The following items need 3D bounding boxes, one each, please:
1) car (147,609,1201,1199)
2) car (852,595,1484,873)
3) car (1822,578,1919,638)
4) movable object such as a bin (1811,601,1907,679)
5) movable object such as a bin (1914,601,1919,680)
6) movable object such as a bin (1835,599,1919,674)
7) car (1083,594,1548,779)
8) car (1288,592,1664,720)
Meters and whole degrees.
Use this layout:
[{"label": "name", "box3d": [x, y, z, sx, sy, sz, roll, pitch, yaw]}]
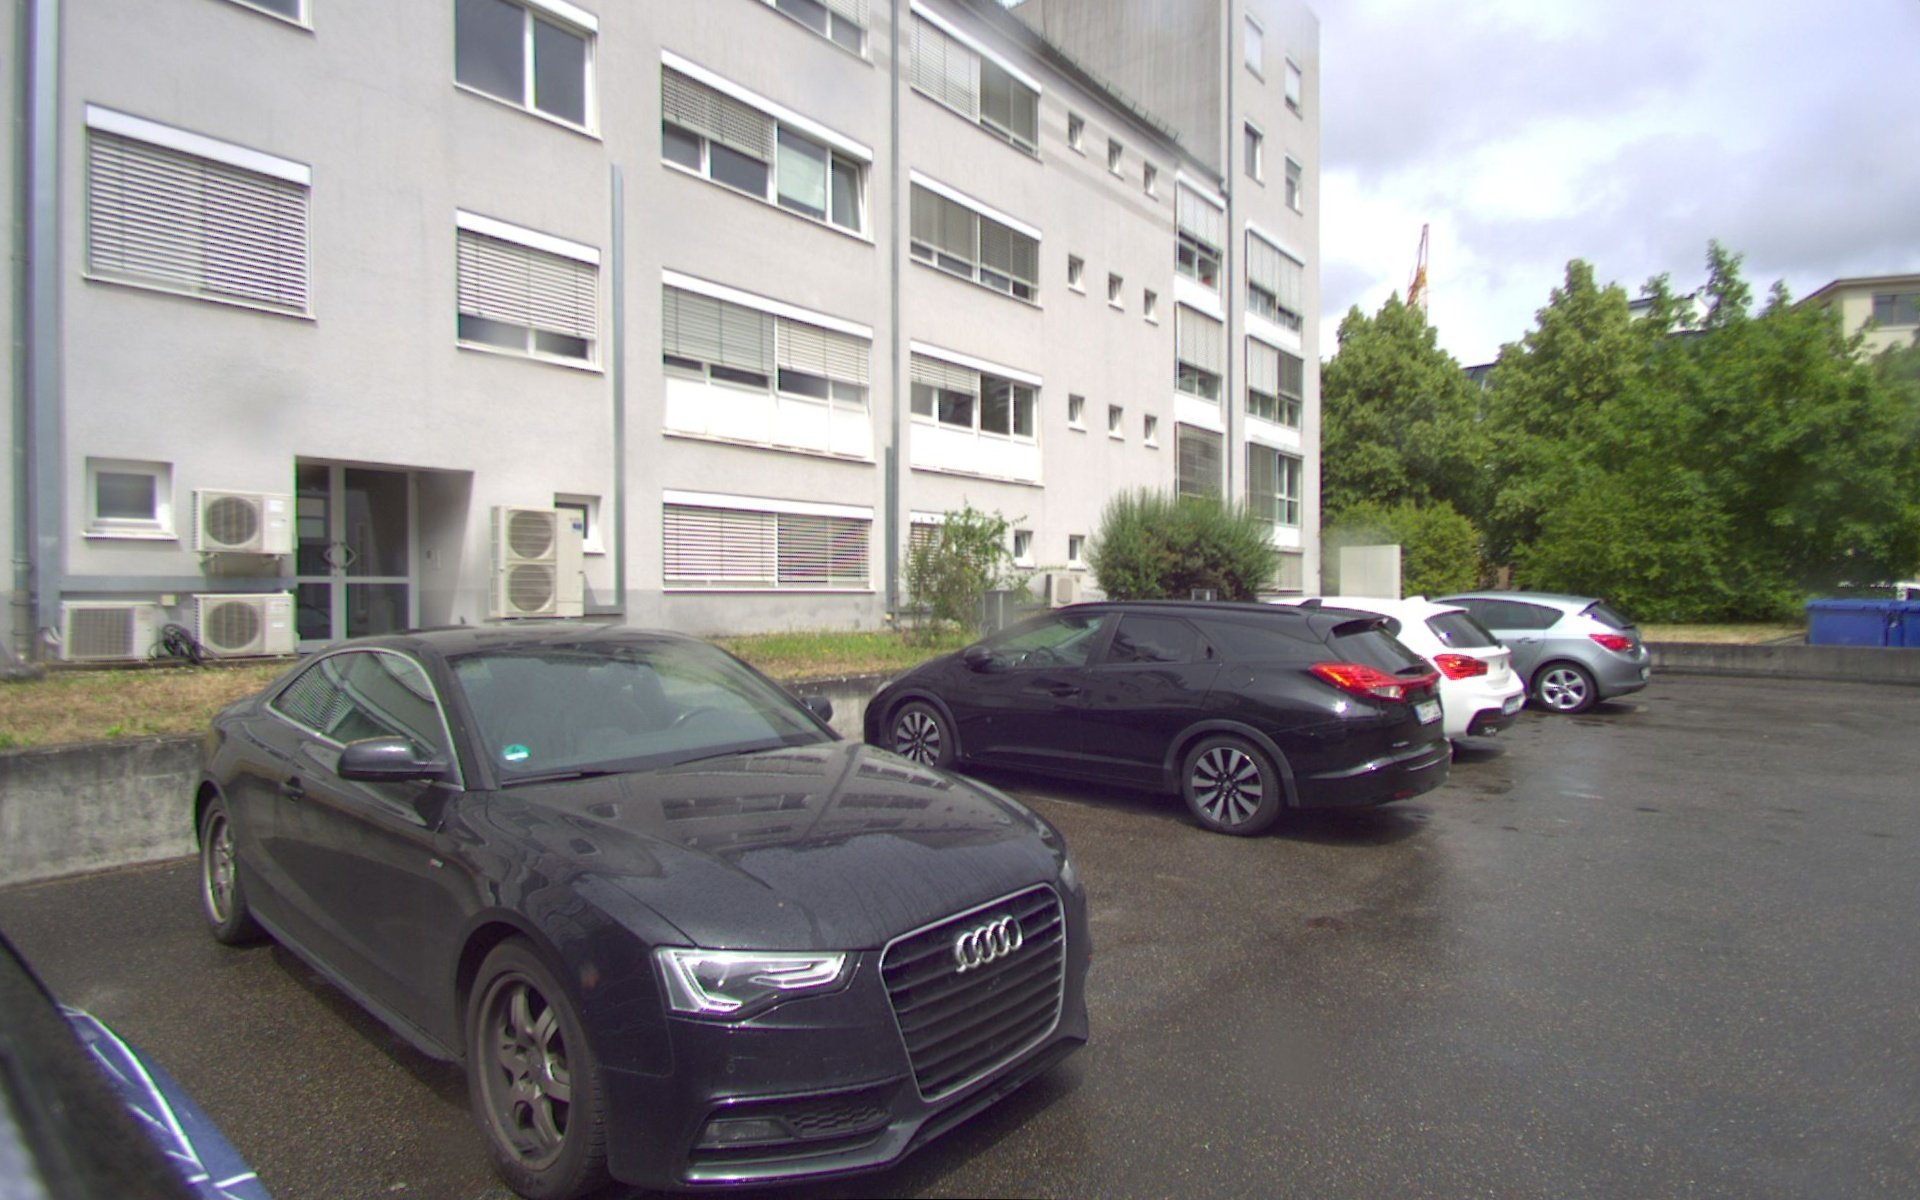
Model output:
[{"label": "car", "box3d": [-1.530, 0.775, 3.924, 4.527, 1.362, 1.739, 1, 1, 41]}, {"label": "car", "box3d": [1.328, 0.718, 7.526, 4.312, 1.453, 1.740, 1, 1, 40]}, {"label": "car", "box3d": [28.430, 0.217, 29.827, 1.695, 1.740, 4.342, -1, 0, -39]}, {"label": "movable object such as a bin", "box3d": [16.219, 0.697, 18.262, 1.189, 1.338, 1.133, -1, 0, -41]}, {"label": "movable object such as a bin", "box3d": [17.132, 0.687, 17.279, 1.189, 1.335, 1.097, -1, 0, -41]}, {"label": "movable object such as a bin", "box3d": [17.523, 0.669, 19.264, 1.189, 1.338, 1.133, -1, 0, -41]}, {"label": "car", "box3d": [3.419, 0.691, 10.219, 4.124, 1.453, 1.673, 1, 1, 41]}, {"label": "car", "box3d": [6.915, 0.638, 13.821, 4.312, 1.453, 1.740, 1, 1, 40]}]
